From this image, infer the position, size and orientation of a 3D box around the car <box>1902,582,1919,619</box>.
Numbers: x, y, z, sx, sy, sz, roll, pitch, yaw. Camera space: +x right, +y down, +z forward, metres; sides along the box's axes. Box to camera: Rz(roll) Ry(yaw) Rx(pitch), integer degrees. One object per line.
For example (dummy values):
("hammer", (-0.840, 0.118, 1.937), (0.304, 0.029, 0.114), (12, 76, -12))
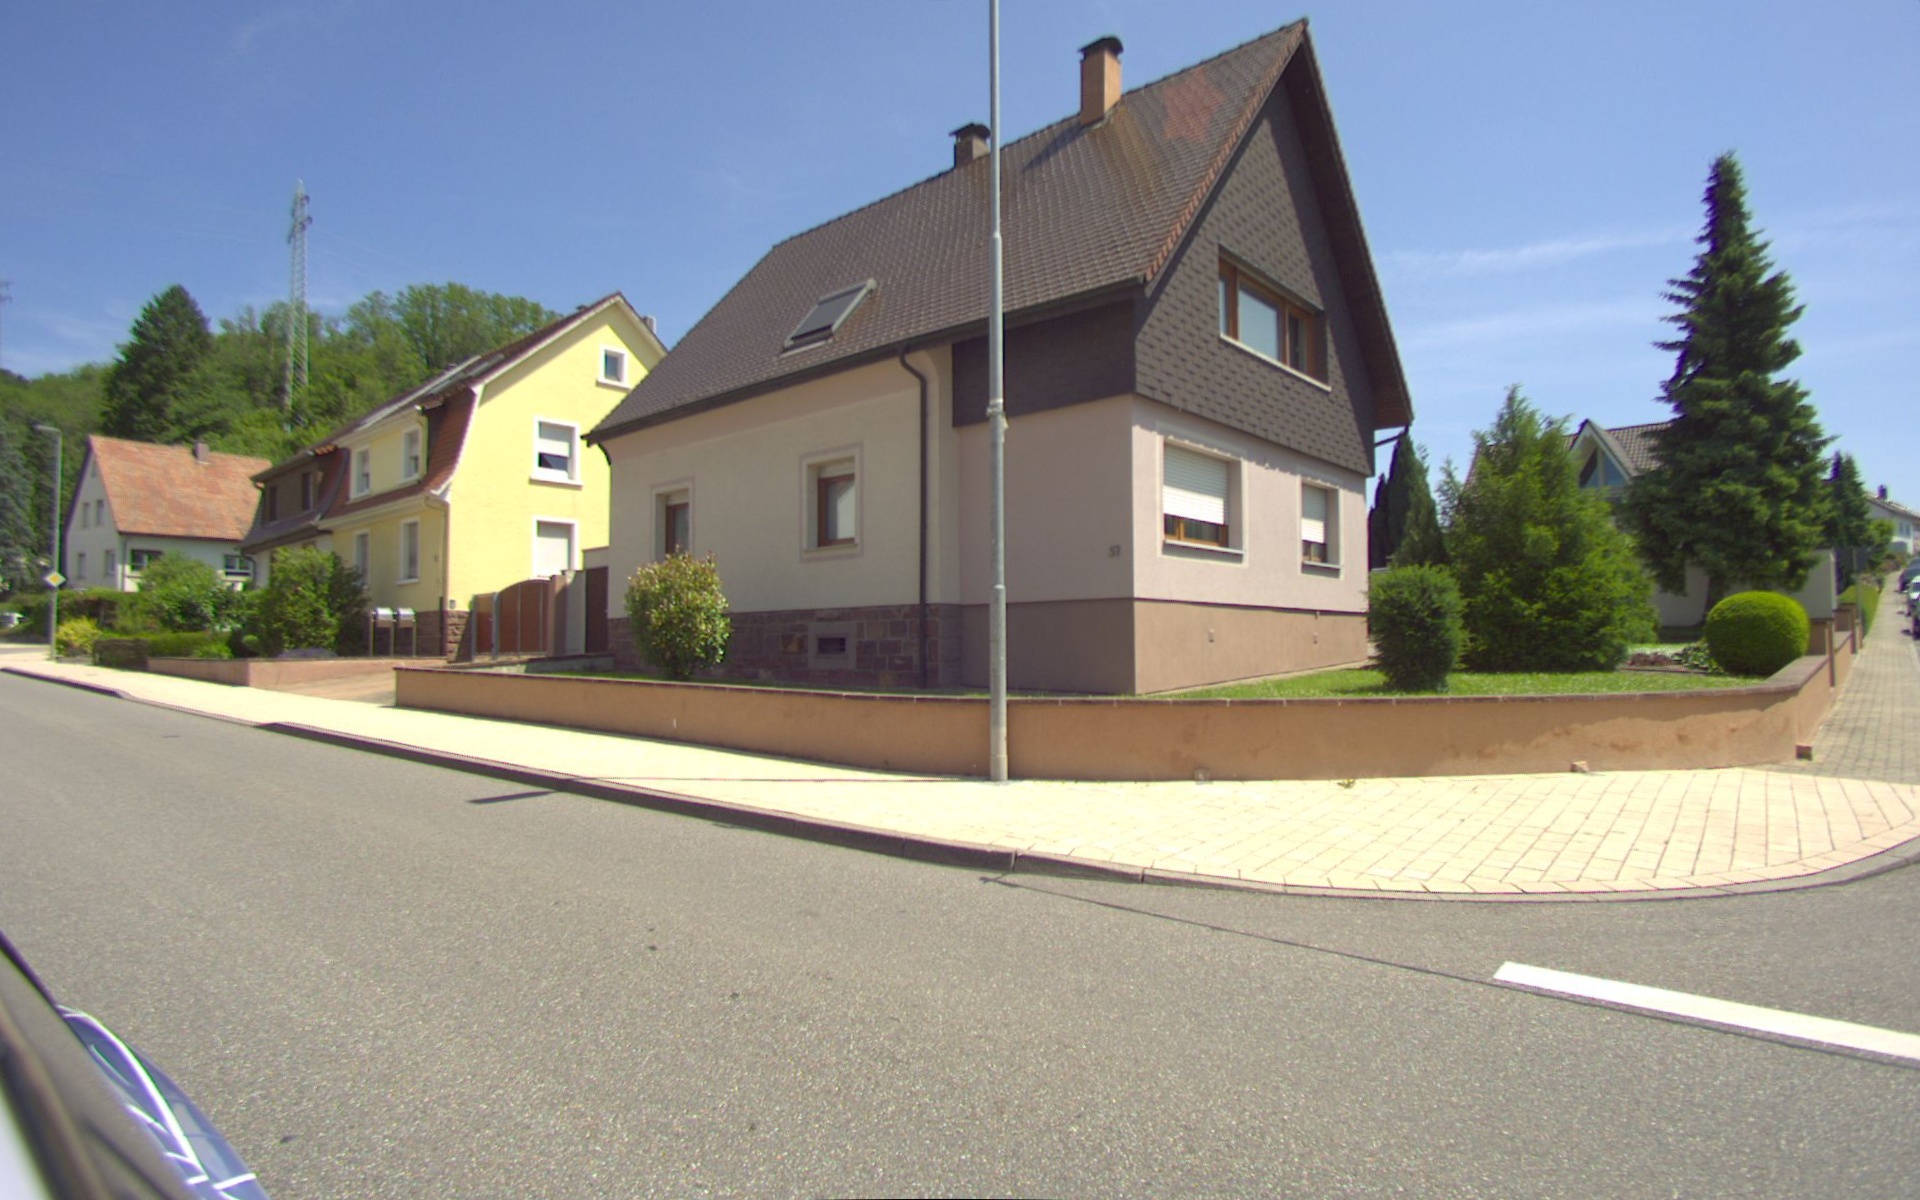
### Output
("car", (42.719, 0.000, 44.404), (1.931, 1.564, 4.239), (-1, 0, 44))

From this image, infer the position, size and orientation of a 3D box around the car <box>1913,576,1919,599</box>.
("car", (65.414, -0.868, 68.123), (1.729, 1.564, 3.619), (-1, 0, 44))

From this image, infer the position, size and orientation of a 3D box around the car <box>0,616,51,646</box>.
("car", (-59.344, 1.918, 62.814), (1.796, 1.803, 3.977), (-1, -1, 17))
